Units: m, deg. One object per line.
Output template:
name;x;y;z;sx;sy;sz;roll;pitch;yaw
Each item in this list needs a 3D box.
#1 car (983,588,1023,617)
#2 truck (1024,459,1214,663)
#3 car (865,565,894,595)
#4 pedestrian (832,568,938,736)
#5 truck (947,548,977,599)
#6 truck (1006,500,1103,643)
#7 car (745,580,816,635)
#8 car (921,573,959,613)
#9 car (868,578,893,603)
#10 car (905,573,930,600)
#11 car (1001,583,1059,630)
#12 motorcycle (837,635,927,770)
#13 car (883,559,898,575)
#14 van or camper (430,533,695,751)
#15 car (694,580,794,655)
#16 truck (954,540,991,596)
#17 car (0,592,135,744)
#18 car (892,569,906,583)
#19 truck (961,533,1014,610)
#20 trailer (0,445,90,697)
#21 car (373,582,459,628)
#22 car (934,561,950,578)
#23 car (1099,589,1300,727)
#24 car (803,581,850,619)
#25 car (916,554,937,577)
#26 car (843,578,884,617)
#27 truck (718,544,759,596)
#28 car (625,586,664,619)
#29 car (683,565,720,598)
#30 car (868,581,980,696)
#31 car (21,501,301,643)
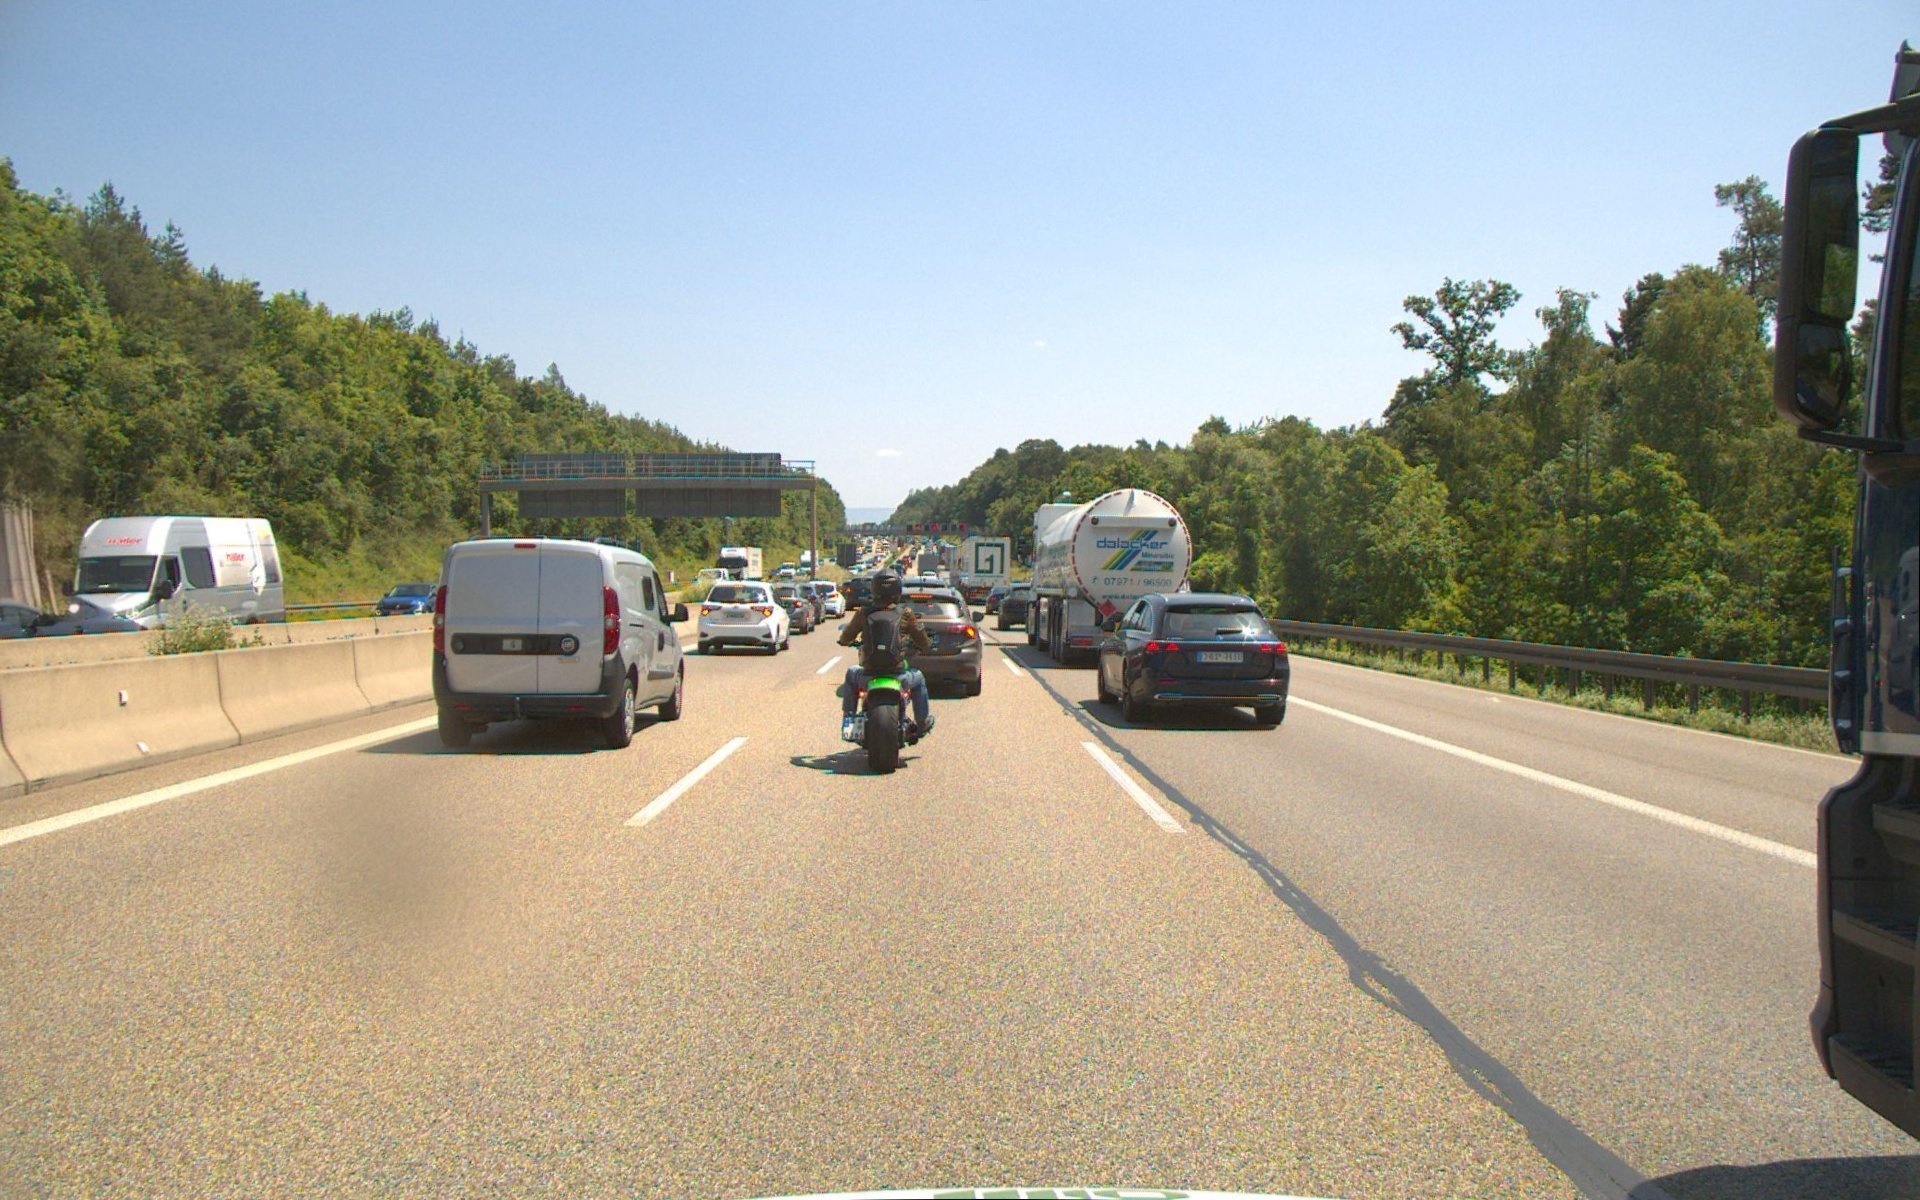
car;2.076;0.103;80.235;1.751;1.398;3.802;0;0;-1
truck;3.182;-0.698;35.857;2.927;3.735;9.285;-2;0;-1
car;-5.854;-1.445;120.470;1.890;2.049;3.999;-2;0;-1
pedestrian;-0.640;0.441;14.518;0.832;1.385;0.961;-2;0;0
truck;0.177;-2.798;176.095;2.972;5.229;9.980;1;0;-1
truck;2.497;-0.712;44.827;1.954;3.584;4.748;-2;-1;-3
car;-5.182;0.196;48.154;1.665;1.504;3.999;0;0;-1
car;-1.084;-0.363;90.691;1.953;2.049;3.999;-2;0;-1
car;-7.106;-0.844;148.132;1.953;2.049;3.999;-2;0;-1
car;-3.508;-1.091;136.210;1.953;2.049;3.999;-2;0;-1
car;2.383;0.199;57.169;1.751;1.583;3.802;0;0;-1
motorcycle;-0.650;0.850;14.431;0.677;1.033;2.121;0;0;0
car;-9.190;-4.326;218.655;1.953;2.049;3.999;0;0;-1
van or camper;-3.849;0.383;16.718;1.759;1.925;4.158;0;0;-1
car;-4.584;0.333;35.563;1.665;1.504;3.999;0;0;-1
truck;1.038;-2.723;143.848;2.972;4.622;9.980;1;0;-1
car;-11.202;0.773;18.726;1.652;1.635;4.125;-2;0;-1
car;-8.879;-3.454;241.523;1.953;2.049;3.999;0;0;-1
truck;1.657;-1.762;104.785;2.972;4.622;9.980;1;0;-1
trailer;-19.287;-0.490;26.576;3.649;4.607;13.327;-2;0;-1
car;-19.713;0.165;60.128;1.842;1.621;3.999;0;0;-1
car;-2.403;-3.958;218.106;1.953;2.049;3.999;-2;0;-1
car;2.790;0.622;20.084;1.791;1.496;3.999;0;0;-1
car;-5.441;-0.028;67.917;1.665;1.504;3.999;0;0;-1
car;-3.977;-4.079;197.471;2.453;2.632;5.015;0;0;-1
car;-4.799;-0.131;82.657;1.842;1.892;3.999;0;0;-1
truck;-21.295;-2.847;159.639;2.709;4.823;10.469;0;0;-1
car;-20.605;0.158;108.012;1.790;2.049;3.878;-2;0;-1
car;-17.837;-1.245;114.211;1.842;2.048;4.467;-3;0;-1
car;-0.542;0.516;24.234;1.502;1.536;3.999;0;0;-2
car;-15.184;-0.519;32.082;1.953;2.418;7.363;0;0;-1
